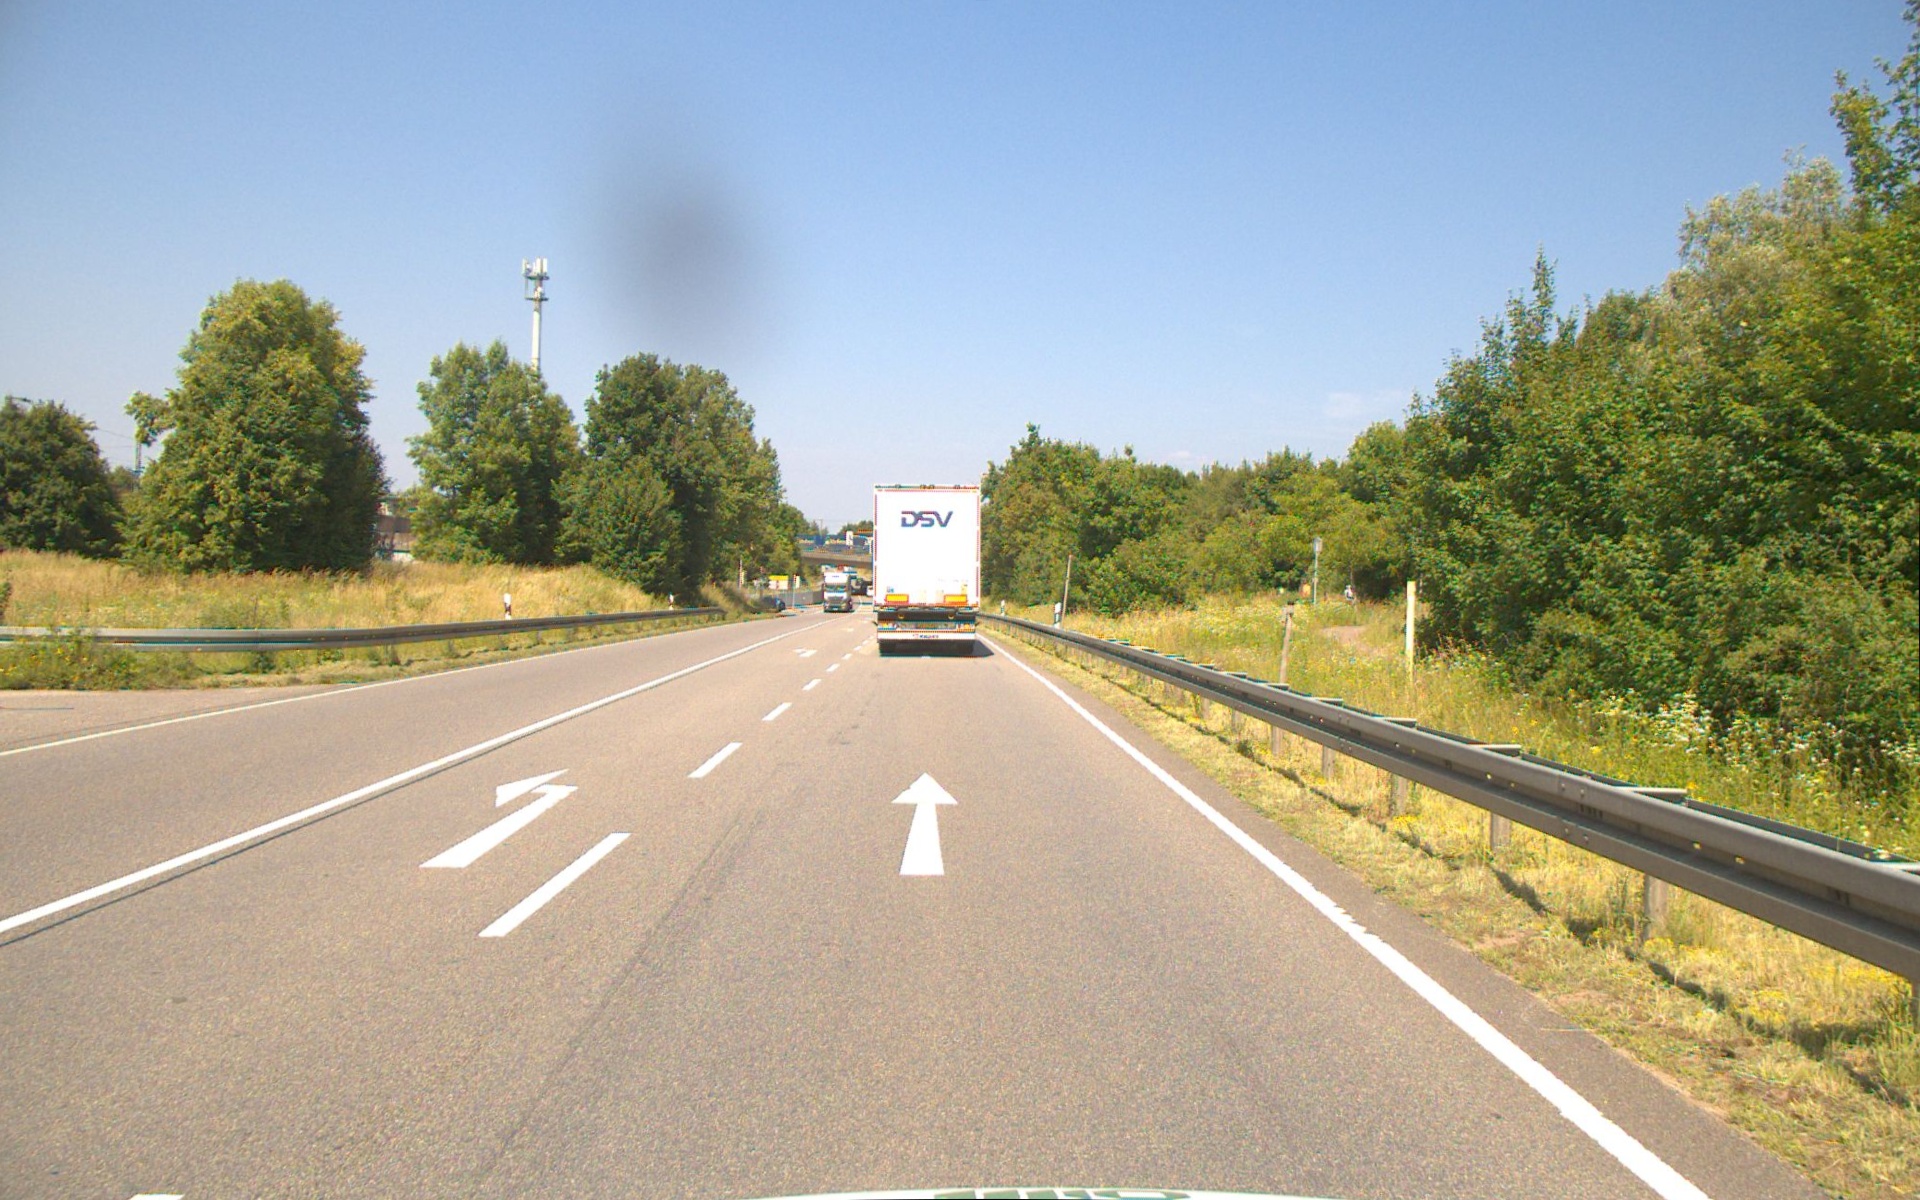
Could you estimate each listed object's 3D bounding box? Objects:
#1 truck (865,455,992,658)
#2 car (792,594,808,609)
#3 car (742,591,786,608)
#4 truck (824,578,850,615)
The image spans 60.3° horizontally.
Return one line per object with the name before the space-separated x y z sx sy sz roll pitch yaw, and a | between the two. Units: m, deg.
truck | -0.807 -1.000 43.096 2.890 4.648 9.860 0 0 -1
car | -20.003 0.159 207.056 1.768 1.904 4.412 0 0 -8
car | -18.657 -0.053 157.316 3.816 1.539 1.697 0 0 -26
truck | -13.127 -0.421 176.841 2.306 3.815 12.619 0 0 -2
